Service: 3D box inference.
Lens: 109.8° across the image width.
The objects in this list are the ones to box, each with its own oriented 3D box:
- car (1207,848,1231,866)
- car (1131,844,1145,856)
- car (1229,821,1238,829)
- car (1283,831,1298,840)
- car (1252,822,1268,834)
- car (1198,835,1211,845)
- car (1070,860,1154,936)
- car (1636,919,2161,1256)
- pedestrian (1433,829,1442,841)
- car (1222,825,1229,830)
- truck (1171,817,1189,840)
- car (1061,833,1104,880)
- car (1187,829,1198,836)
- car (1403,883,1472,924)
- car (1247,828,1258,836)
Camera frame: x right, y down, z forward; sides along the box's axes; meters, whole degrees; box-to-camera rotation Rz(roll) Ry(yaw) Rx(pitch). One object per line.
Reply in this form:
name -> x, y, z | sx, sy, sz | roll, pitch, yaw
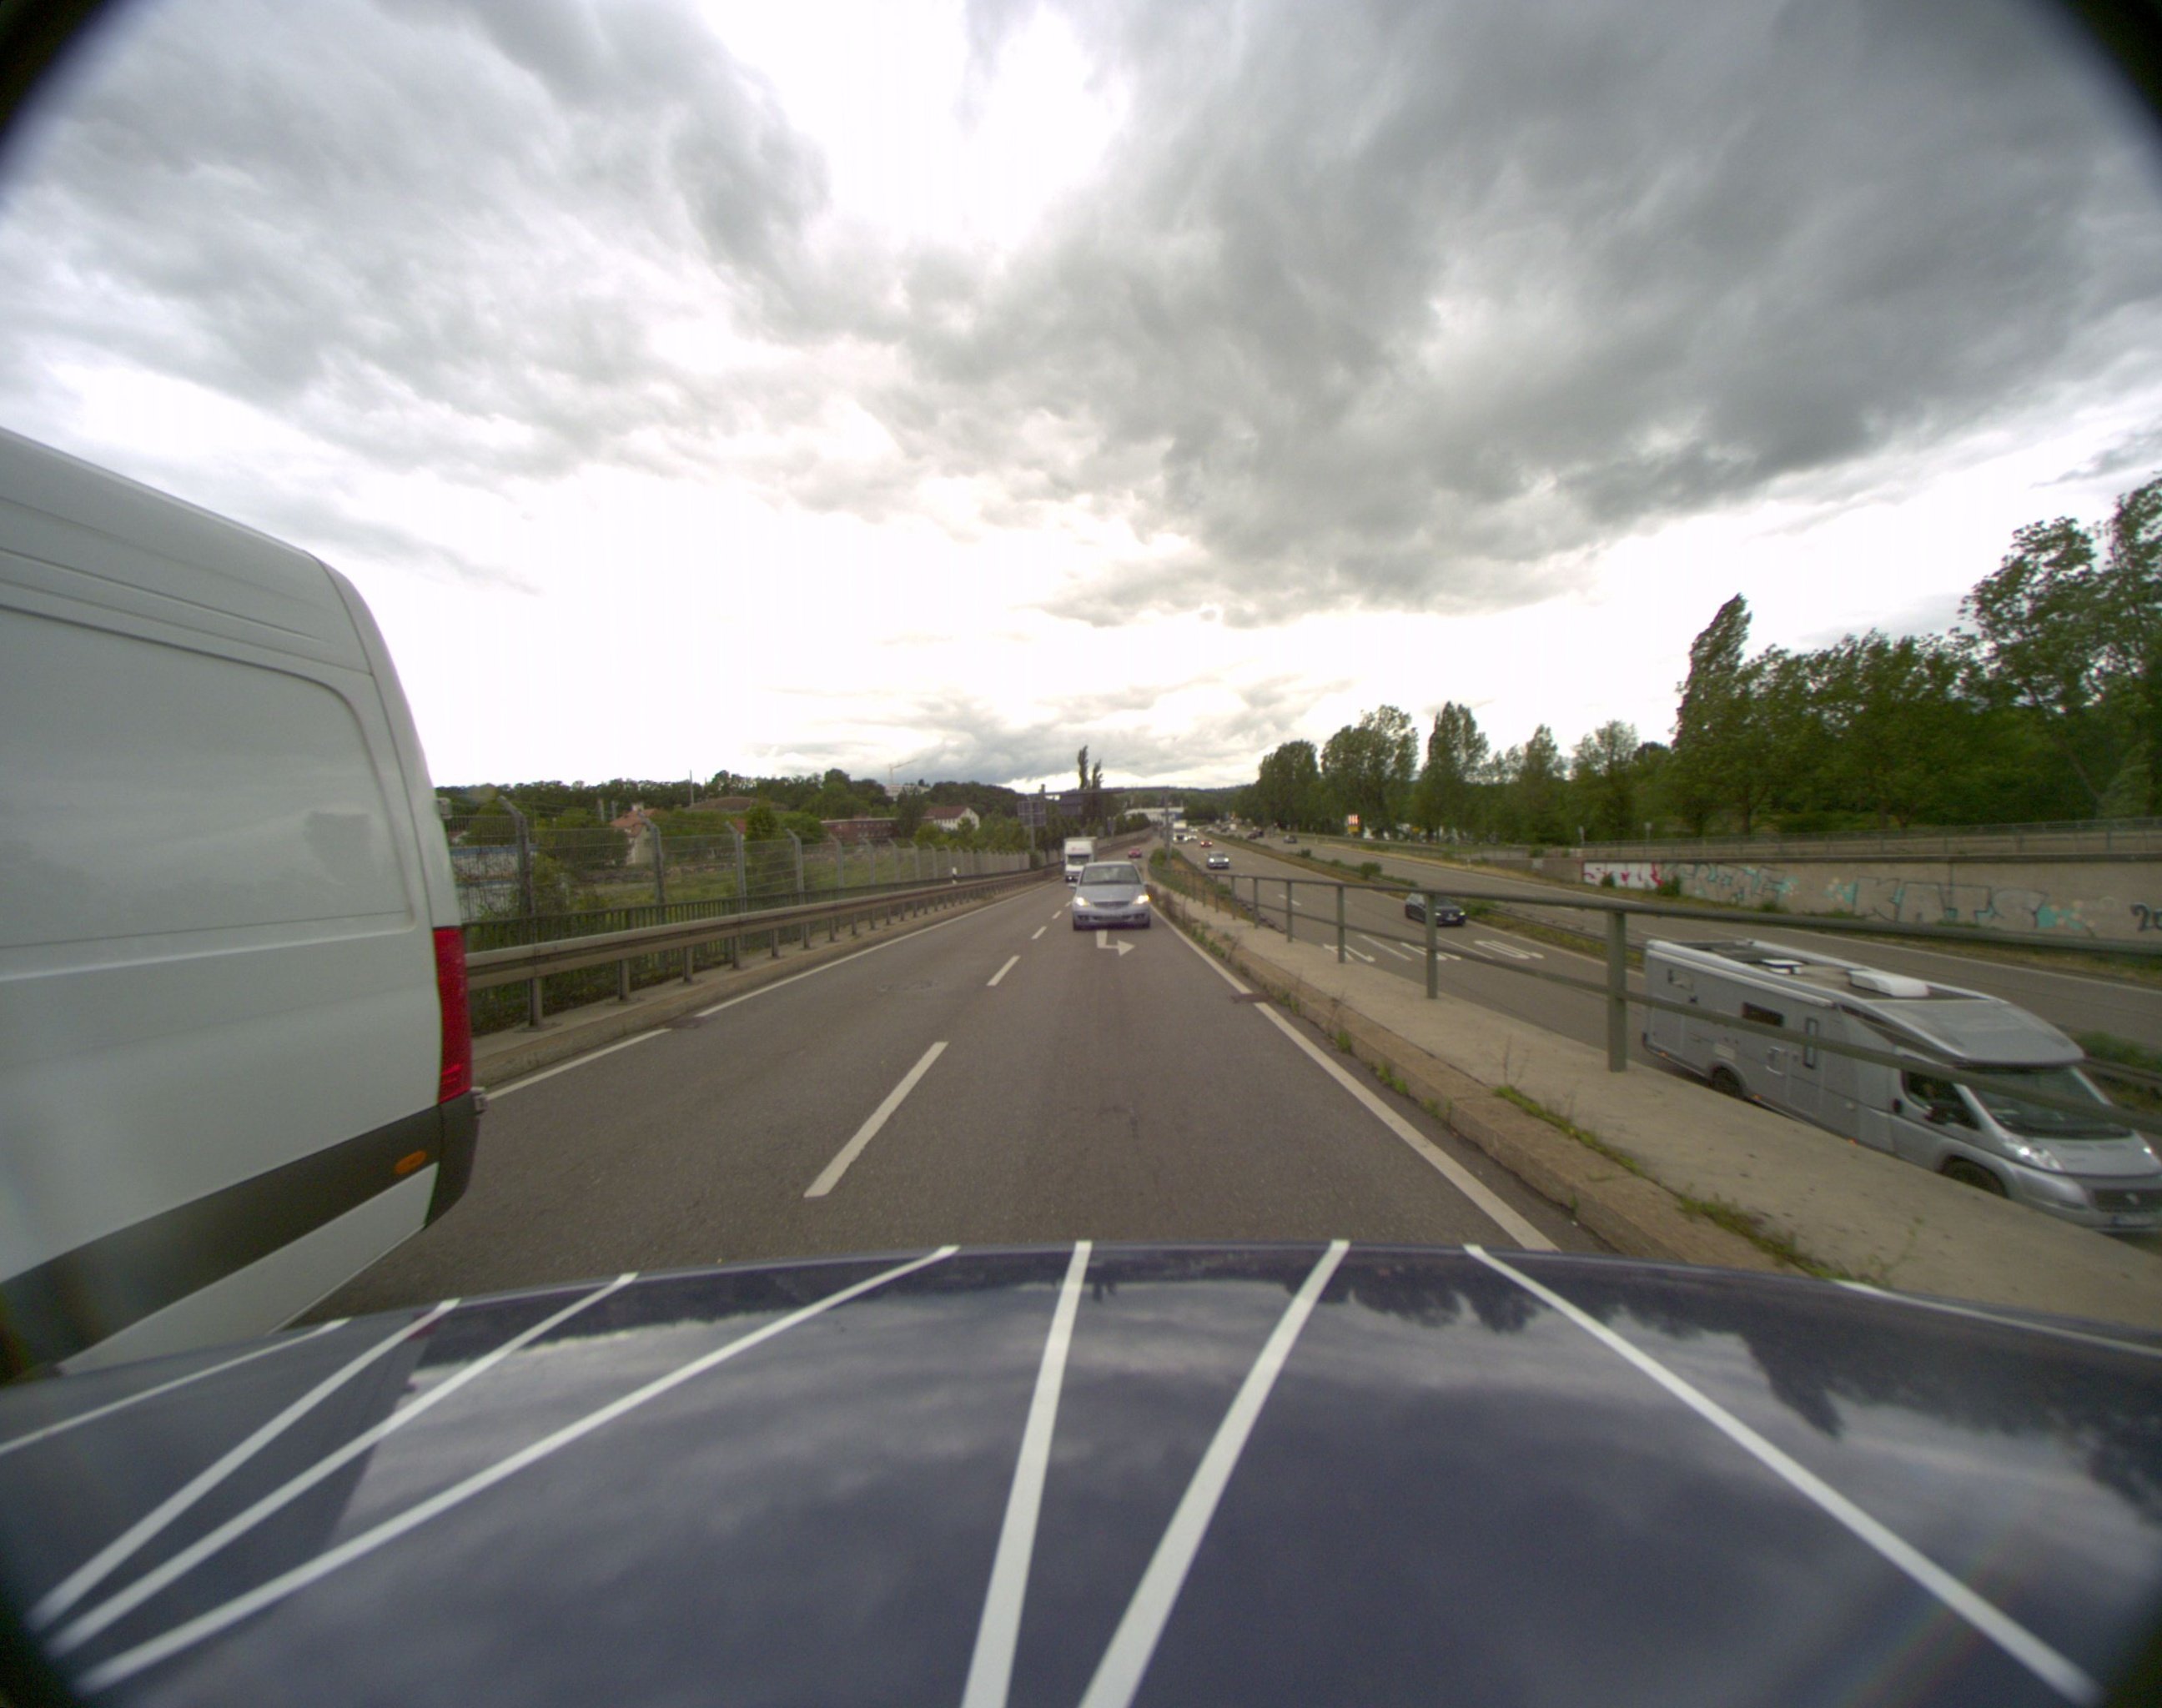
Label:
car -> 14.313, 0.292, 78.767 | 1.844, 1.789, 4.280 | -2, 0, 3
car -> 7.678, -0.507, 102.529 | 1.780, 1.578, 4.001 | -2, 0, 4
car -> 51.569, -9.848, 257.742 | 2.215, 2.765, 5.358 | -1, 4, 3
car -> 37.529, -3.290, 136.440 | 1.715, 1.368, 4.108 | -1, 3, 2
car -> 41.833, -6.080, 177.787 | 2.249, 2.533, 6.111 | -2, 3, 2
car -> 20.792, -2.389, 128.057 | 1.756, 1.433, 4.162 | -2, 5, 4
car -> 0.752, 0.979, 18.675 | 1.780, 1.578, 4.000 | -2, 0, 2
car -> 13.618, 3.302, 13.375 | 2.367, 3.223, 7.657 | -2, 3, 3
pedestrian -> 51.299, -2.758, 109.277 | 0.831, 1.696, 1.077 | -3, 4, 3
car -> 46.398, -8.534, 244.069 | 1.903, 1.641, 4.331 | -1, 3, 3
truck -> 19.290, -5.035, 148.304 | 2.758, 4.229, 6.695 | -1, 3, 2
car -> 0.200, 0.102, 58.712 | 2.665, 3.310, 7.091 | -2, 1, 4
car -> 24.394, -4.678, 166.424 | 1.919, 1.411, 4.275 | -2, 4, 4
car -> 18.336, 2.495, 39.295 | 1.753, 1.561, 4.218 | -2, 3, 3
car -> 36.531, -4.633, 162.076 | 1.668, 1.493, 3.856 | -1, 4, 3
